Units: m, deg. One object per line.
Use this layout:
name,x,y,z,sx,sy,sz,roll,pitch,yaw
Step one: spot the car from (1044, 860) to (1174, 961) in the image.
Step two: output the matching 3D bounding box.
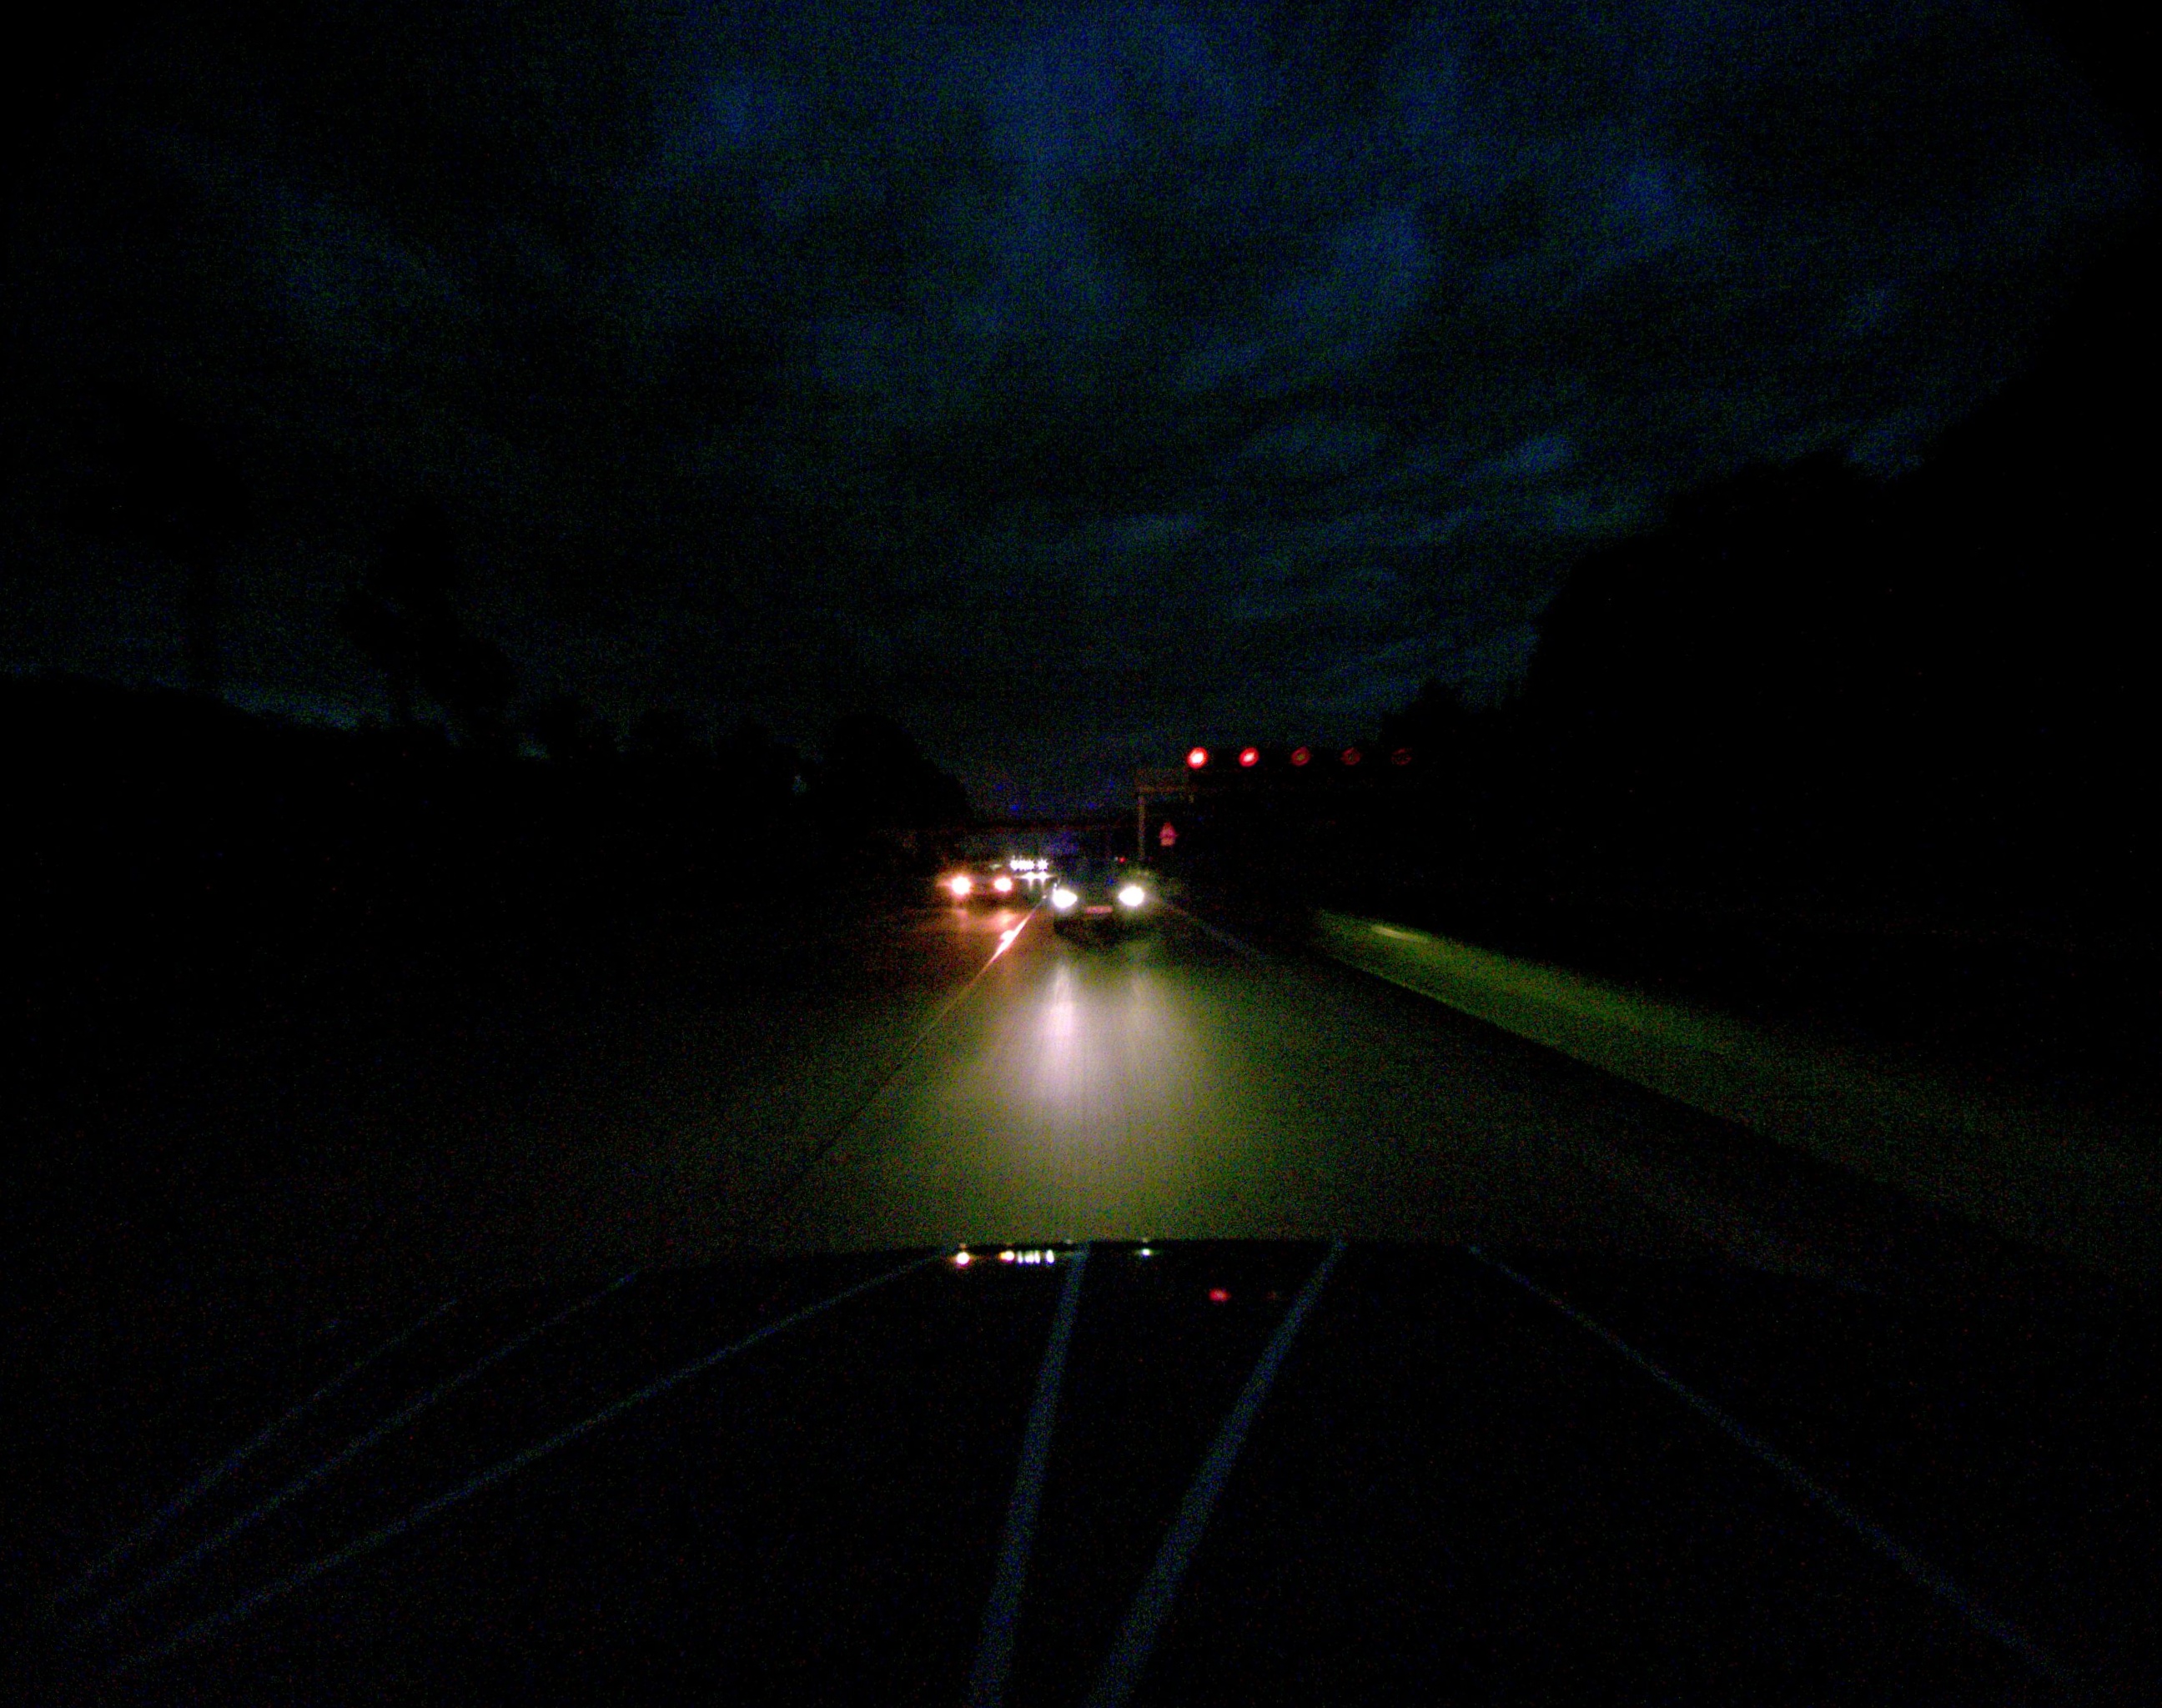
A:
car,0.381,0.863,13.481,1.880,1.435,4.451,-2,-1,-1

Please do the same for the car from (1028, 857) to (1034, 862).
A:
car,-16.452,1.834,248.273,1.820,1.372,4.196,-2,0,-6

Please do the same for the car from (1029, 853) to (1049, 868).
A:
car,-4.707,0.723,85.592,1.999,1.539,4.000,-2,-1,-1

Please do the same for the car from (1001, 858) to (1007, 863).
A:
car,-26.239,2.174,259.222,1.820,1.372,4.041,-2,0,-6

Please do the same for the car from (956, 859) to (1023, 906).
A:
car,-3.212,0.949,27.680,1.814,1.457,5.131,-2,0,0

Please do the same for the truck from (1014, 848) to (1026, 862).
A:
truck,-18.777,0.455,232.522,3.147,3.987,10.538,-2,0,-7

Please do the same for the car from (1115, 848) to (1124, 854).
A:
car,9.354,-0.758,185.459,1.816,1.511,4.429,-2,-1,-3
